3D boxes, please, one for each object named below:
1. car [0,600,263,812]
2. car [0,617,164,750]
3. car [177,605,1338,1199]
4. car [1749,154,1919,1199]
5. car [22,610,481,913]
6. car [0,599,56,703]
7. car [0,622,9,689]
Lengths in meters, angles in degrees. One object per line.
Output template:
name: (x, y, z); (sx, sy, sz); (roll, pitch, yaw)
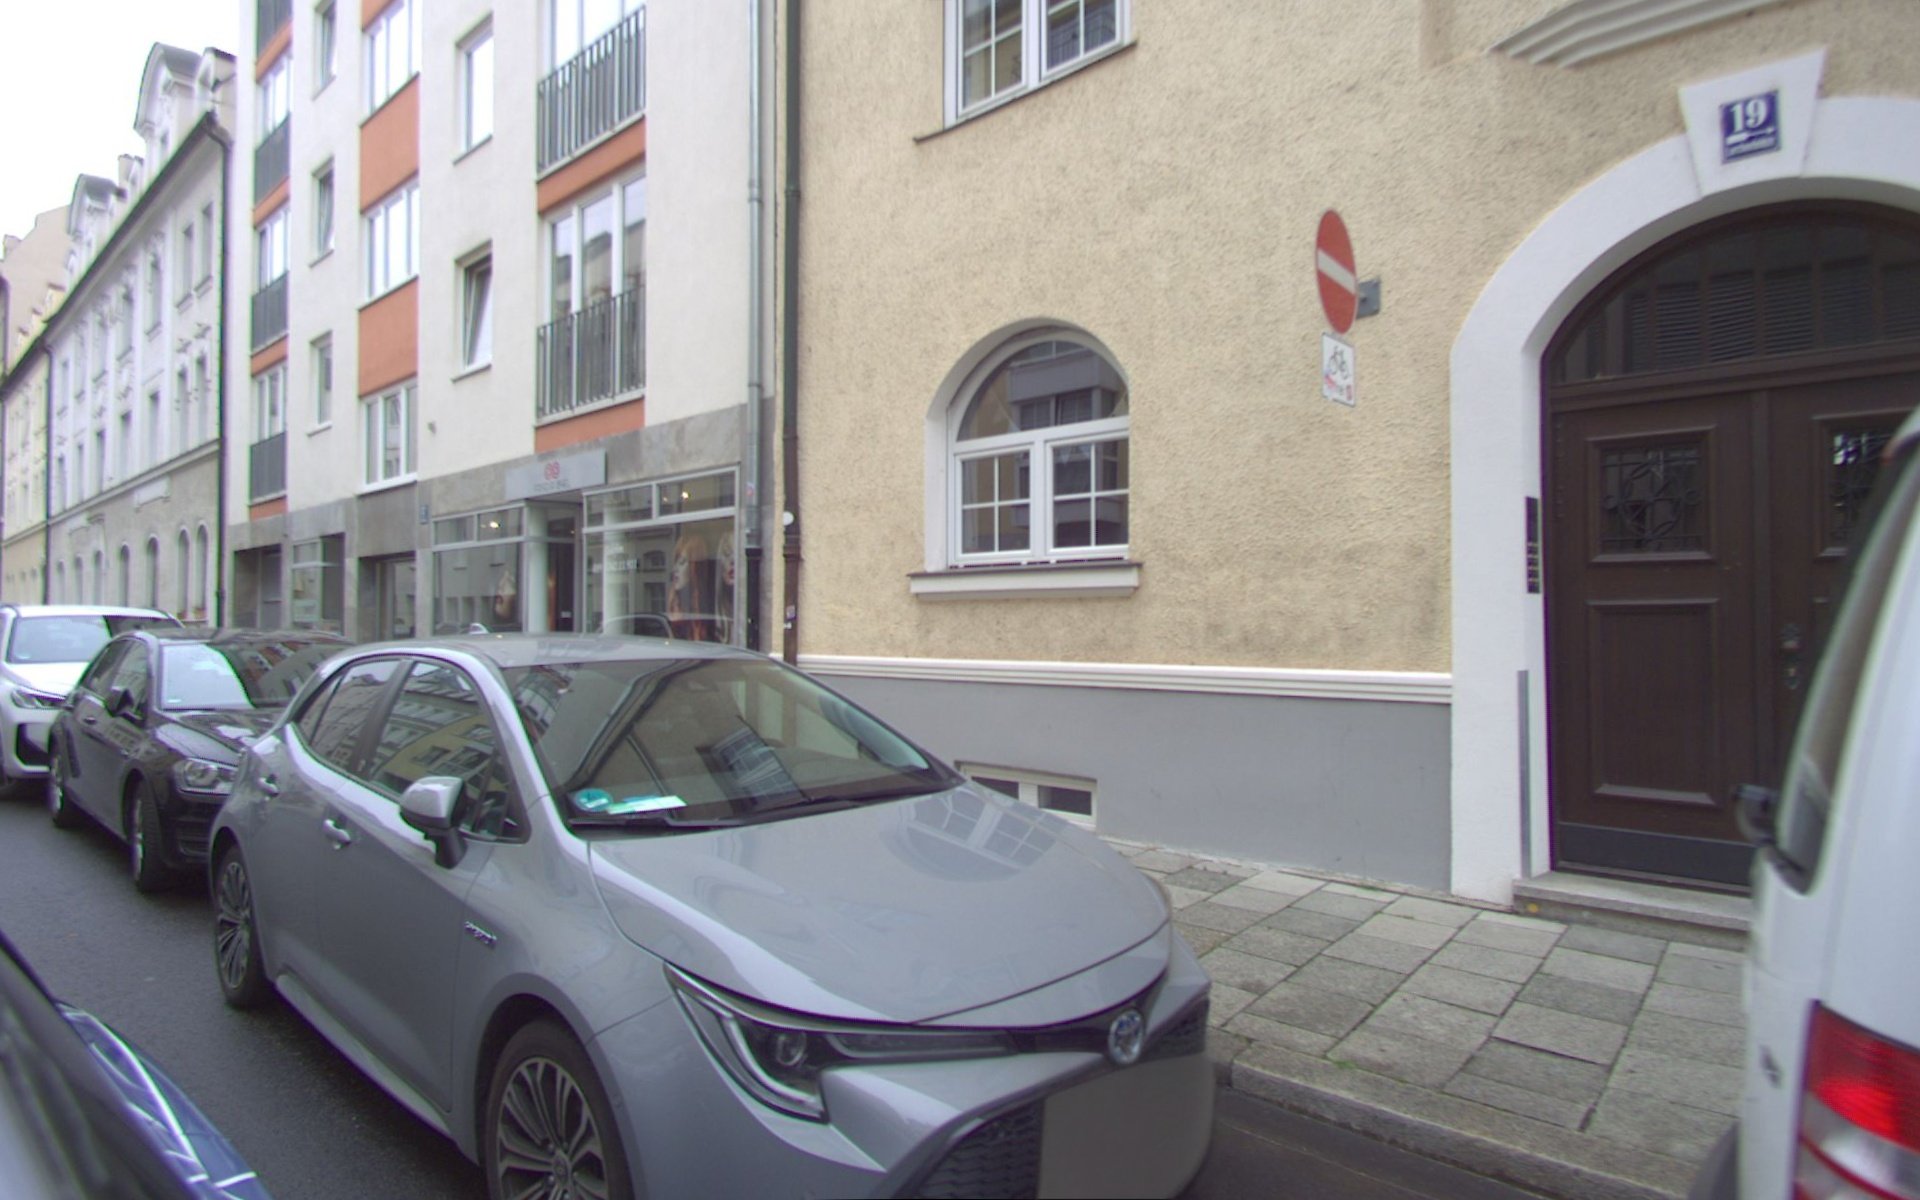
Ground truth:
car: (-8.545, 0.891, 9.732); (4.302, 1.617, 1.764); (-1, -4, 38)
car: (-11.849, 1.011, 13.115); (4.027, 1.486, 1.611); (-2, -4, 41)
car: (-1.095, 0.809, 3.400); (4.111, 1.486, 1.654); (0, -3, 42)
car: (2.868, 0.545, 0.135); (4.249, 1.802, 1.705); (0, -3, 43)
car: (-4.949, 0.874, 6.874); (3.839, 1.486, 1.611); (-2, -4, 41)
car: (-19.334, 0.945, 19.708); (4.906, 1.875, 1.926); (-1, -4, 41)
car: (-23.562, 1.229, 23.365); (3.714, 1.490, 1.926); (-1, -4, 41)
